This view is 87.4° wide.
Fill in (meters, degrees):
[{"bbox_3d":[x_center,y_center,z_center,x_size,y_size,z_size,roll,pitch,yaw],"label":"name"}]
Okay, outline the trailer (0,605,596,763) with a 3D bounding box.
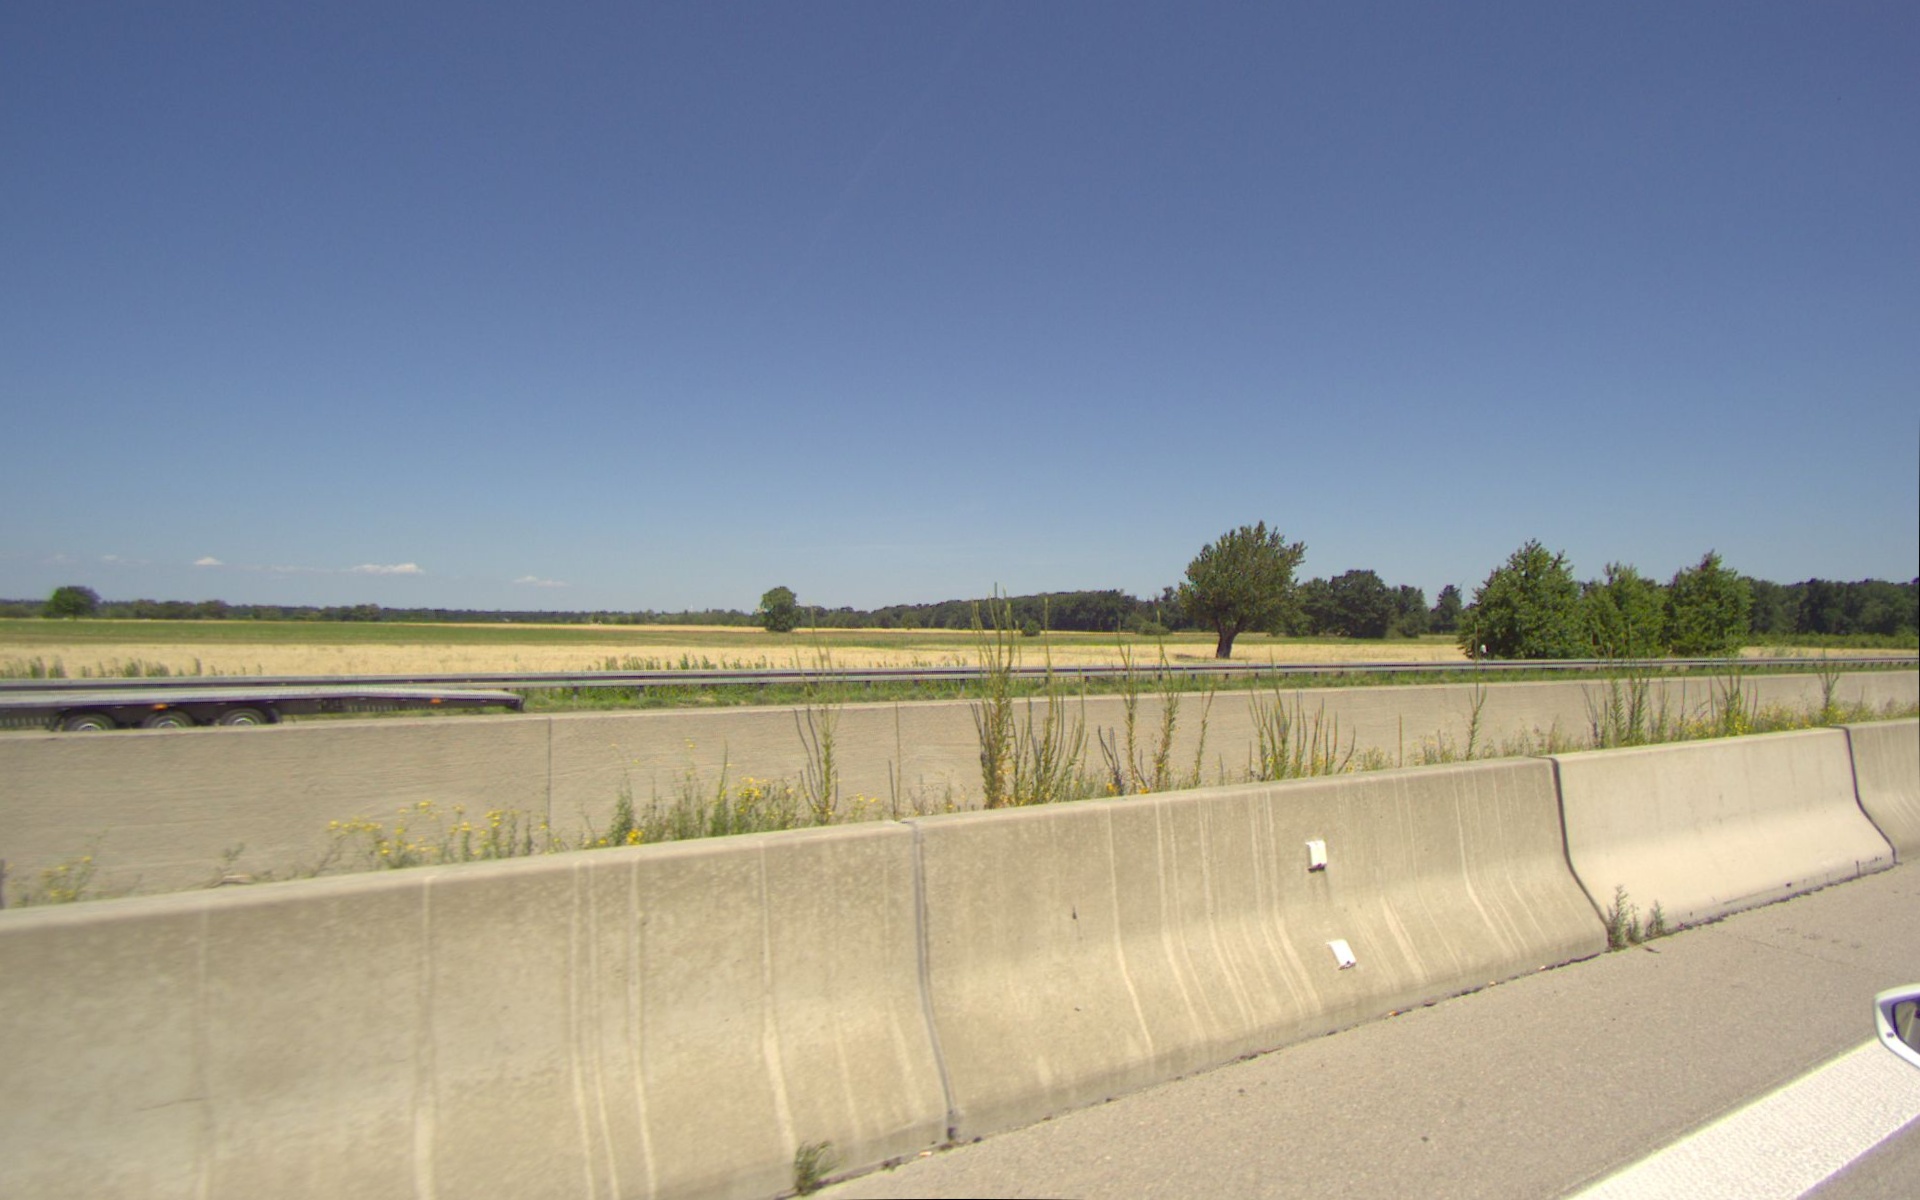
[{"bbox_3d":[-10.309,0.994,12.818,10.426,1.768,2.226,1,-2,-32],"label":"trailer"}]
